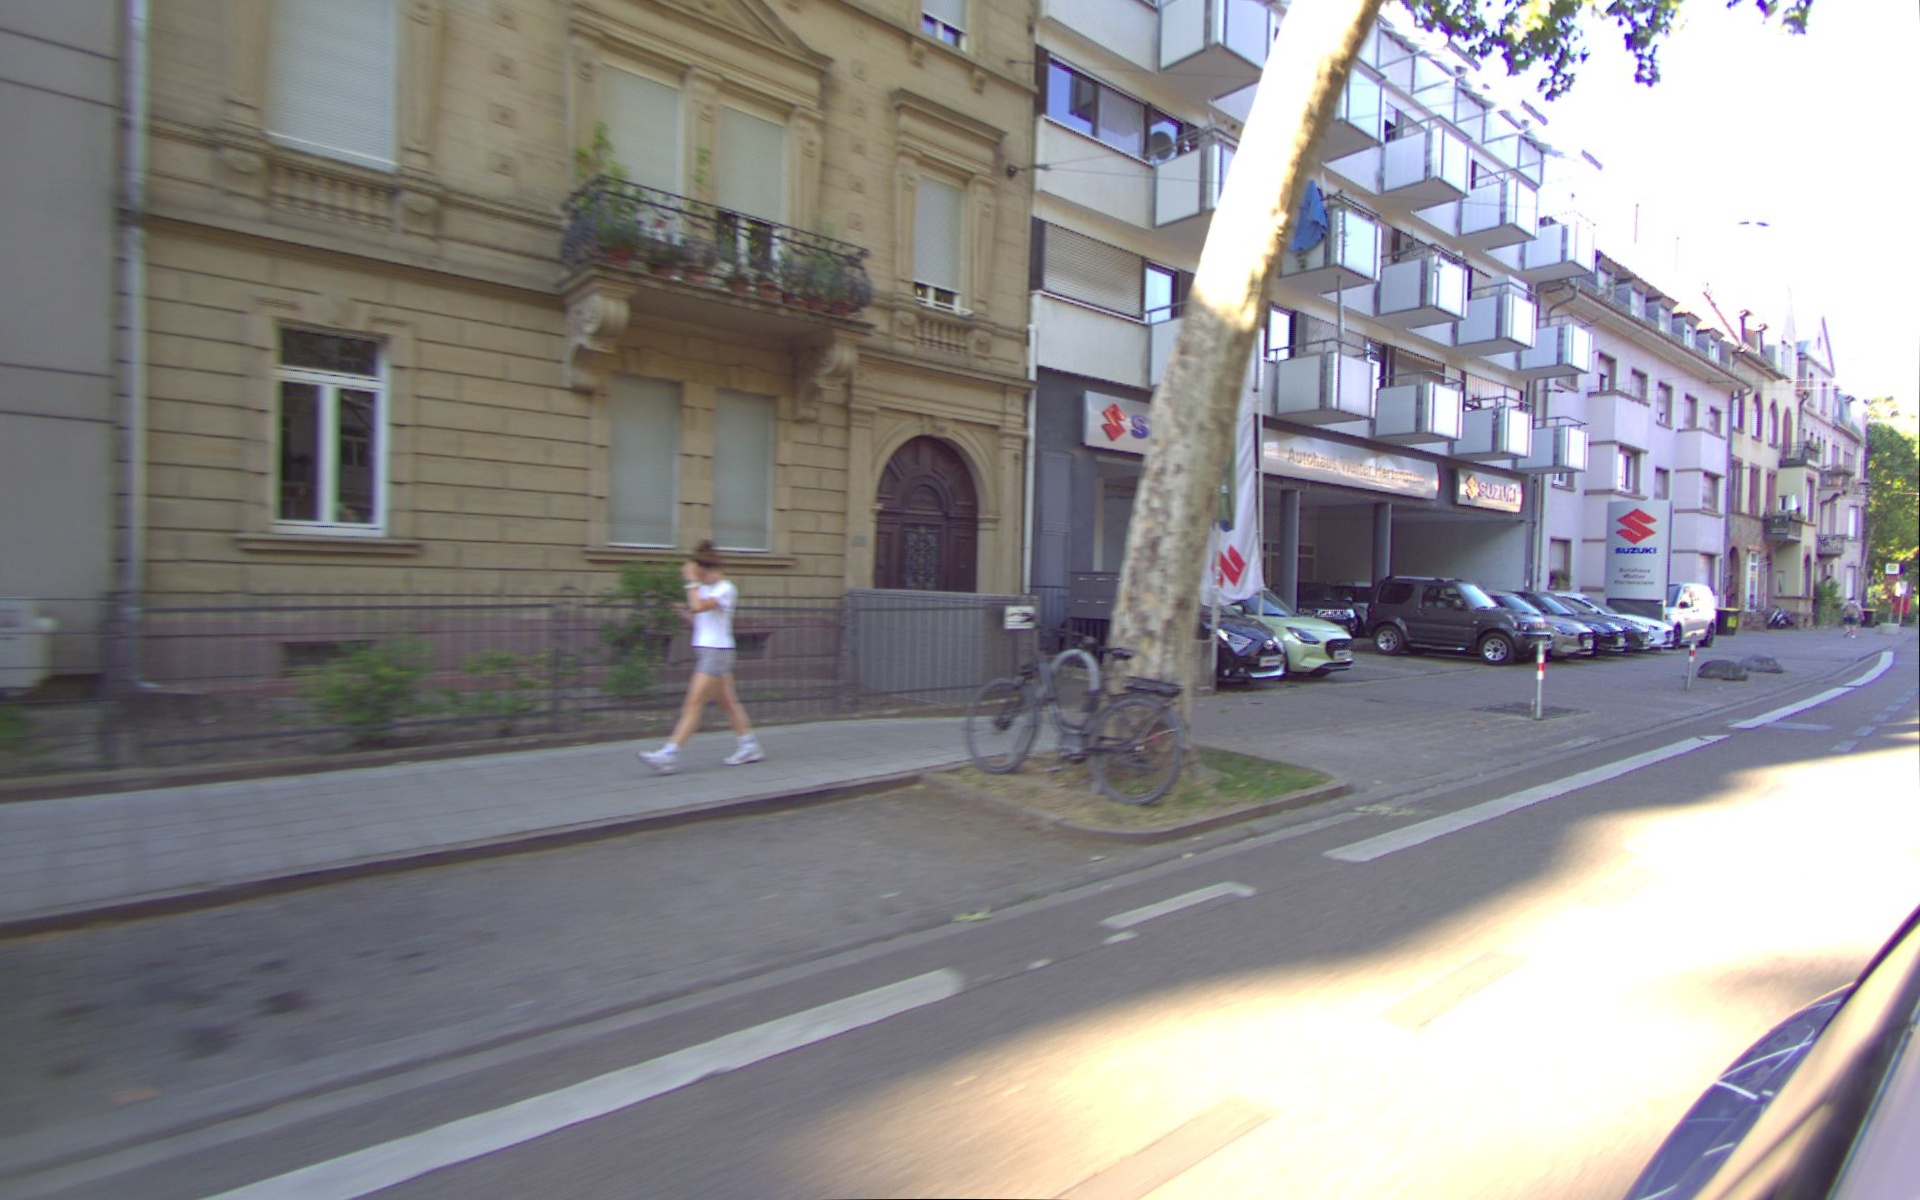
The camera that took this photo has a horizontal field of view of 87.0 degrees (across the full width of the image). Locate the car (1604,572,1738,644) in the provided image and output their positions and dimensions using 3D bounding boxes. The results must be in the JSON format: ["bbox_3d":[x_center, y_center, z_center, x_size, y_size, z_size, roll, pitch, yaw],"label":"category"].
[{"bbox_3d":[21.061,0.161,29.901,4.811,1.972,1.898,-1,2,-38],"label":"car"}]

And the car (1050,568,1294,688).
[{"bbox_3d":[3.085,0.320,15.193,1.418,1.565,3.423,-1,2,-42],"label":"car"}]

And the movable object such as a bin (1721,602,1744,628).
[{"bbox_3d":[29.896,0.571,39.157,0.574,0.981,0.555,-1,2,-39],"label":"movable object such as a bin"}]

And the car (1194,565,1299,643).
[{"bbox_3d":[6.746,0.046,24.204,1.588,1.677,3.599,1,1,3],"label":"car"}]

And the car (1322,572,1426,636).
[{"bbox_3d":[10.944,0.057,26.977,1.477,1.583,3.347,1,1,3],"label":"car"}]

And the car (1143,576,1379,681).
[{"bbox_3d":[4.932,0.379,16.934,1.725,1.537,3.427,-1,2,-38],"label":"car"}]

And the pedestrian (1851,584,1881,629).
[{"bbox_3d":[38.558,0.262,43.067,1.131,1.835,0.830,-1,2,-42],"label":"pedestrian"}]

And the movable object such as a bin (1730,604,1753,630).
[{"bbox_3d":[30.735,0.667,39.800,0.574,0.981,0.555,-1,2,-39],"label":"movable object such as a bin"}]

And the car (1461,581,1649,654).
[{"bbox_3d":[13.984,0.364,23.912,1.709,1.544,3.427,0,1,-38],"label":"car"}]

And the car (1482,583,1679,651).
[{"bbox_3d":[15.550,0.376,25.478,1.778,1.533,3.875,1,1,-42],"label":"car"}]

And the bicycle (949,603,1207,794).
[{"bbox_3d":[0.776,0.624,7.066,1.838,1.157,0.344,1,2,34],"label":"bicycle"}]

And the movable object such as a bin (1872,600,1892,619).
[{"bbox_3d":[53.748,0.558,59.018,0.645,1.059,0.659,0,2,-28],"label":"movable object such as a bin"}]

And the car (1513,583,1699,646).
[{"bbox_3d":[17.234,0.353,27.129,1.879,1.520,3.820,2,0,-39],"label":"car"}]

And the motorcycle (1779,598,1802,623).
[{"bbox_3d":[40.045,0.499,48.786,2.464,1.151,0.590,-1,2,-45],"label":"motorcycle"}]

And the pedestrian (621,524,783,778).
[{"bbox_3d":[-1.809,0.315,7.099,0.907,1.649,0.664,-1,2,-41],"label":"pedestrian"}]

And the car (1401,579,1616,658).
[{"bbox_3d":[12.167,0.334,22.623,1.827,1.560,3.826,0,2,-41],"label":"car"}]

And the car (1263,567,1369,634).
[{"bbox_3d":[9.091,-0.034,26.133,1.580,1.583,3.524,1,1,3],"label":"car"}]

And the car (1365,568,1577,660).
[{"bbox_3d":[10.644,0.242,21.264,1.651,1.741,3.590,2,1,-38],"label":"car"}]
